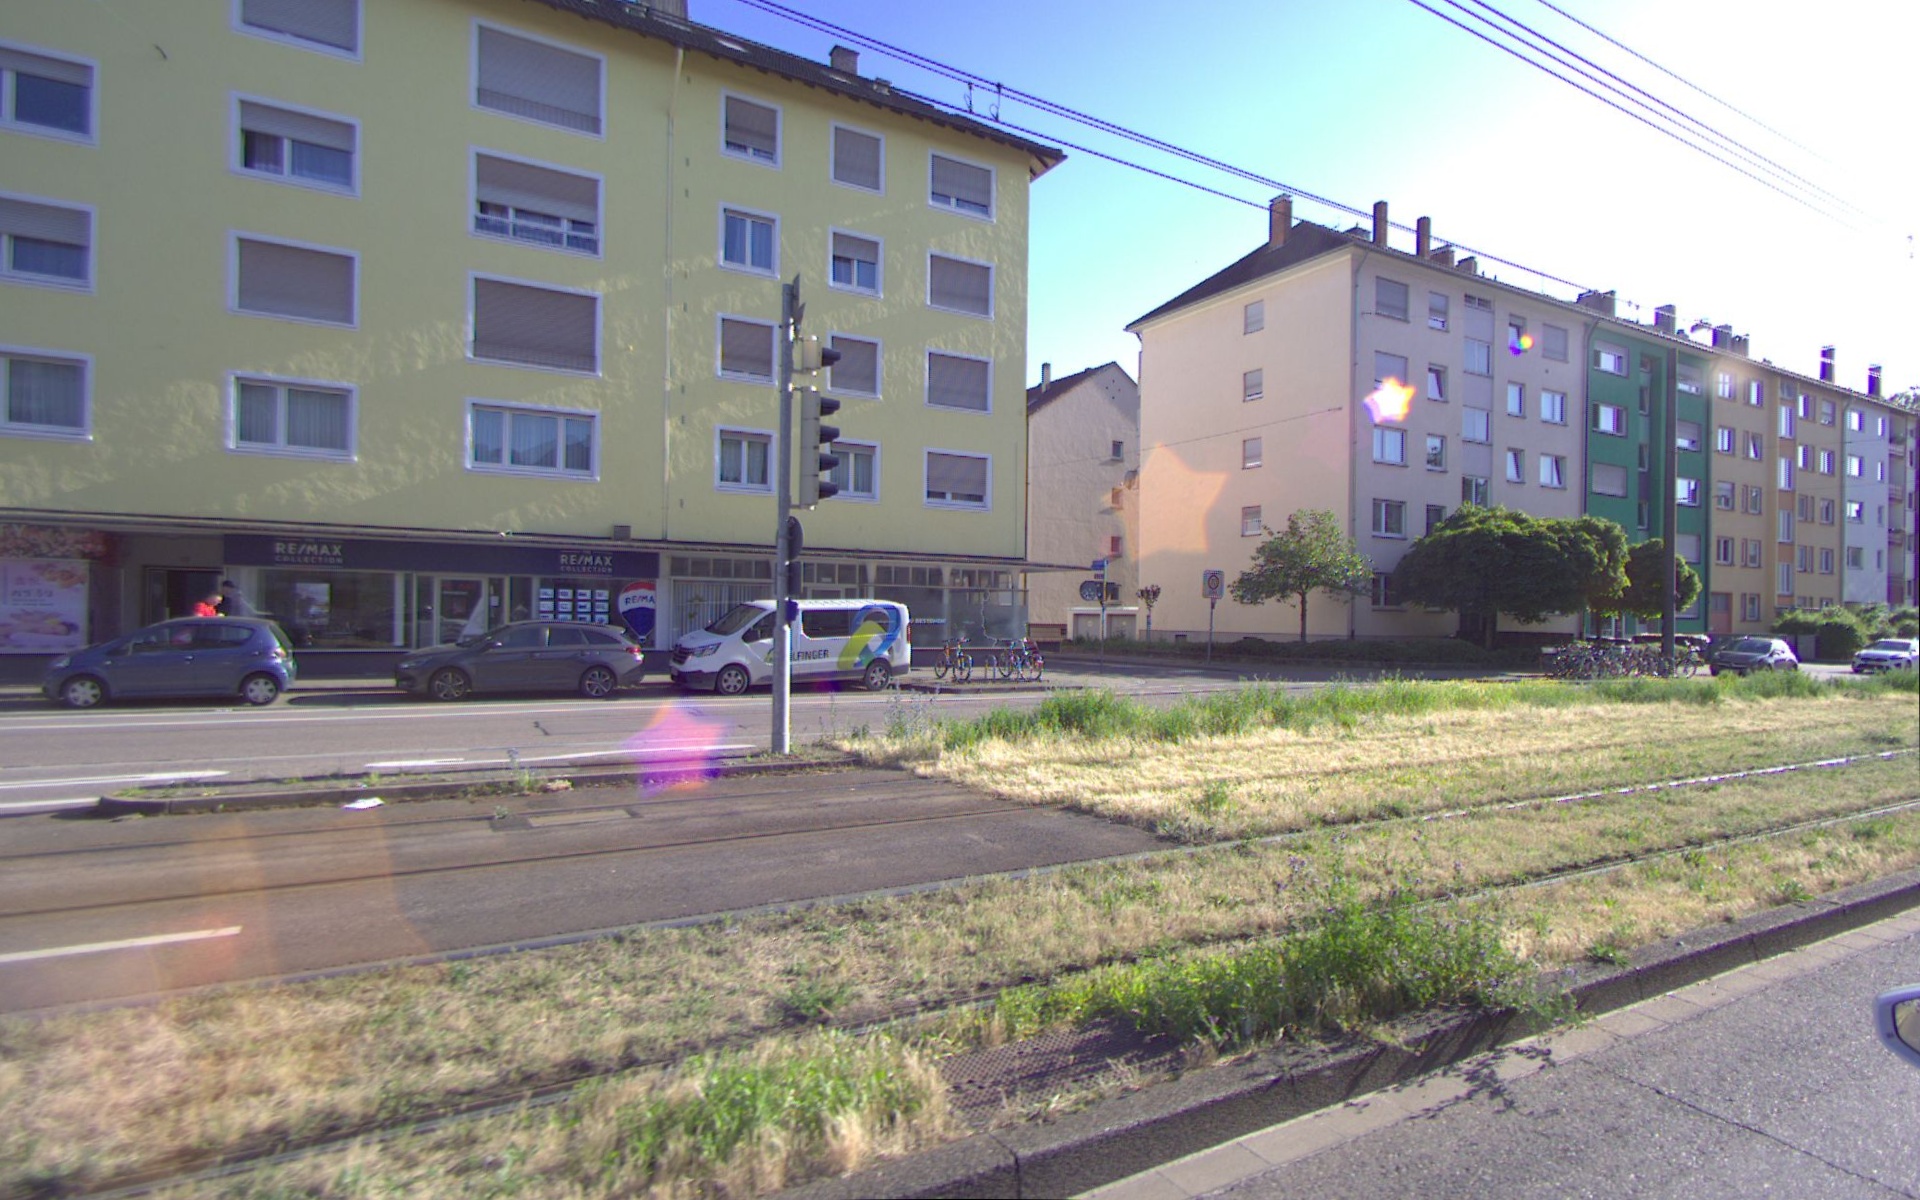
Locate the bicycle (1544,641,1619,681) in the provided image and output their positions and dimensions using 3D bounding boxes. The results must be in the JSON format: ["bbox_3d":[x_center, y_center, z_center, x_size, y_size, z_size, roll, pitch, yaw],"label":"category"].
[{"bbox_3d":[19.919,1.935,32.256,0.607,1.107,2.042,2,2,-23],"label":"bicycle"}]

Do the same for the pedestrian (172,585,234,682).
[{"bbox_3d":[-14.287,0.627,18.984,0.835,1.767,0.668,1,2,-30],"label":"pedestrian"}]

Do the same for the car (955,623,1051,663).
[{"bbox_3d":[1.590,1.635,38.292,1.753,1.431,3.966,1,-2,-31],"label":"car"}]

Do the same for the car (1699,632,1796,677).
[{"bbox_3d":[28.757,1.967,36.657,3.693,1.461,1.626,2,1,-32],"label":"car"}]

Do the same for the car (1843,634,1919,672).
[{"bbox_3d":[39.990,2.246,43.200,4.324,1.474,1.720,2,0,-30],"label":"car"}]

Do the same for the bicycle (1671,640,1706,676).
[{"bbox_3d":[24.324,1.923,33.530,1.921,1.107,0.504,1,2,-42],"label":"bicycle"}]

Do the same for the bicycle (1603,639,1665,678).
[{"bbox_3d":[22.840,1.962,34.064,0.604,1.107,2.053,2,1,-2],"label":"bicycle"}]

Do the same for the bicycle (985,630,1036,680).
[{"bbox_3d":[1.292,1.392,25.916,0.386,1.120,1.811,1,2,-29],"label":"bicycle"}]

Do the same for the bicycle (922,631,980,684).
[{"bbox_3d":[-0.248,1.397,24.987,0.467,1.120,2.088,1,2,-29],"label":"bicycle"}]

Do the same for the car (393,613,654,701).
[{"bbox_3d":[-8.571,1.077,19.830,4.542,1.494,1.774,1,2,-31],"label":"car"}]

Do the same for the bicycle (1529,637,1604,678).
[{"bbox_3d":[19.254,1.817,31.925,0.607,1.107,2.042,2,2,-23],"label":"bicycle"}]

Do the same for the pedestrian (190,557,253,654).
[{"bbox_3d":[-14.766,0.106,20.101,0.913,1.885,0.668,1,2,-30],"label":"pedestrian"}]

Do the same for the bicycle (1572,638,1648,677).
[{"bbox_3d":[21.227,1.868,32.850,0.607,1.107,2.042,2,2,-23],"label":"bicycle"}]

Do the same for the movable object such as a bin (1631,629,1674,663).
[{"bbox_3d":[30.184,2.003,43.791,1.026,1.386,1.142,2,2,-27],"label":"movable object such as a bin"}]

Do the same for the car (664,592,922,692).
[{"bbox_3d":[-3.721,0.916,22.861,5.442,1.975,1.981,1,2,-33],"label":"car"}]

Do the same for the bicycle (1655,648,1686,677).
[{"bbox_3d":[23.910,2.102,33.809,2.039,0.877,0.373,1,2,-42],"label":"bicycle"}]

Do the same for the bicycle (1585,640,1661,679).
[{"bbox_3d":[21.819,1.943,33.115,0.607,1.107,2.042,2,2,-23],"label":"bicycle"}]

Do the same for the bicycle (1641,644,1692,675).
[{"bbox_3d":[23.698,1.989,33.723,0.410,0.881,1.585,2,2,-7],"label":"bicycle"}]

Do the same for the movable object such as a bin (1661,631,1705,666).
[{"bbox_3d":[30.733,2.052,42.695,1.026,1.386,1.142,2,2,-27],"label":"movable object such as a bin"}]

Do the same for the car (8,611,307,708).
[{"bbox_3d":[-13.422,0.967,17.111,3.724,1.403,1.774,1,2,-31],"label":"car"}]

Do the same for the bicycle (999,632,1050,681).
[{"bbox_3d":[1.659,1.446,26.104,0.386,1.120,1.811,1,2,-29],"label":"bicycle"}]

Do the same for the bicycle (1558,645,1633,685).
[{"bbox_3d":[20.561,2.086,32.555,0.607,1.107,2.042,2,2,-23],"label":"bicycle"}]
